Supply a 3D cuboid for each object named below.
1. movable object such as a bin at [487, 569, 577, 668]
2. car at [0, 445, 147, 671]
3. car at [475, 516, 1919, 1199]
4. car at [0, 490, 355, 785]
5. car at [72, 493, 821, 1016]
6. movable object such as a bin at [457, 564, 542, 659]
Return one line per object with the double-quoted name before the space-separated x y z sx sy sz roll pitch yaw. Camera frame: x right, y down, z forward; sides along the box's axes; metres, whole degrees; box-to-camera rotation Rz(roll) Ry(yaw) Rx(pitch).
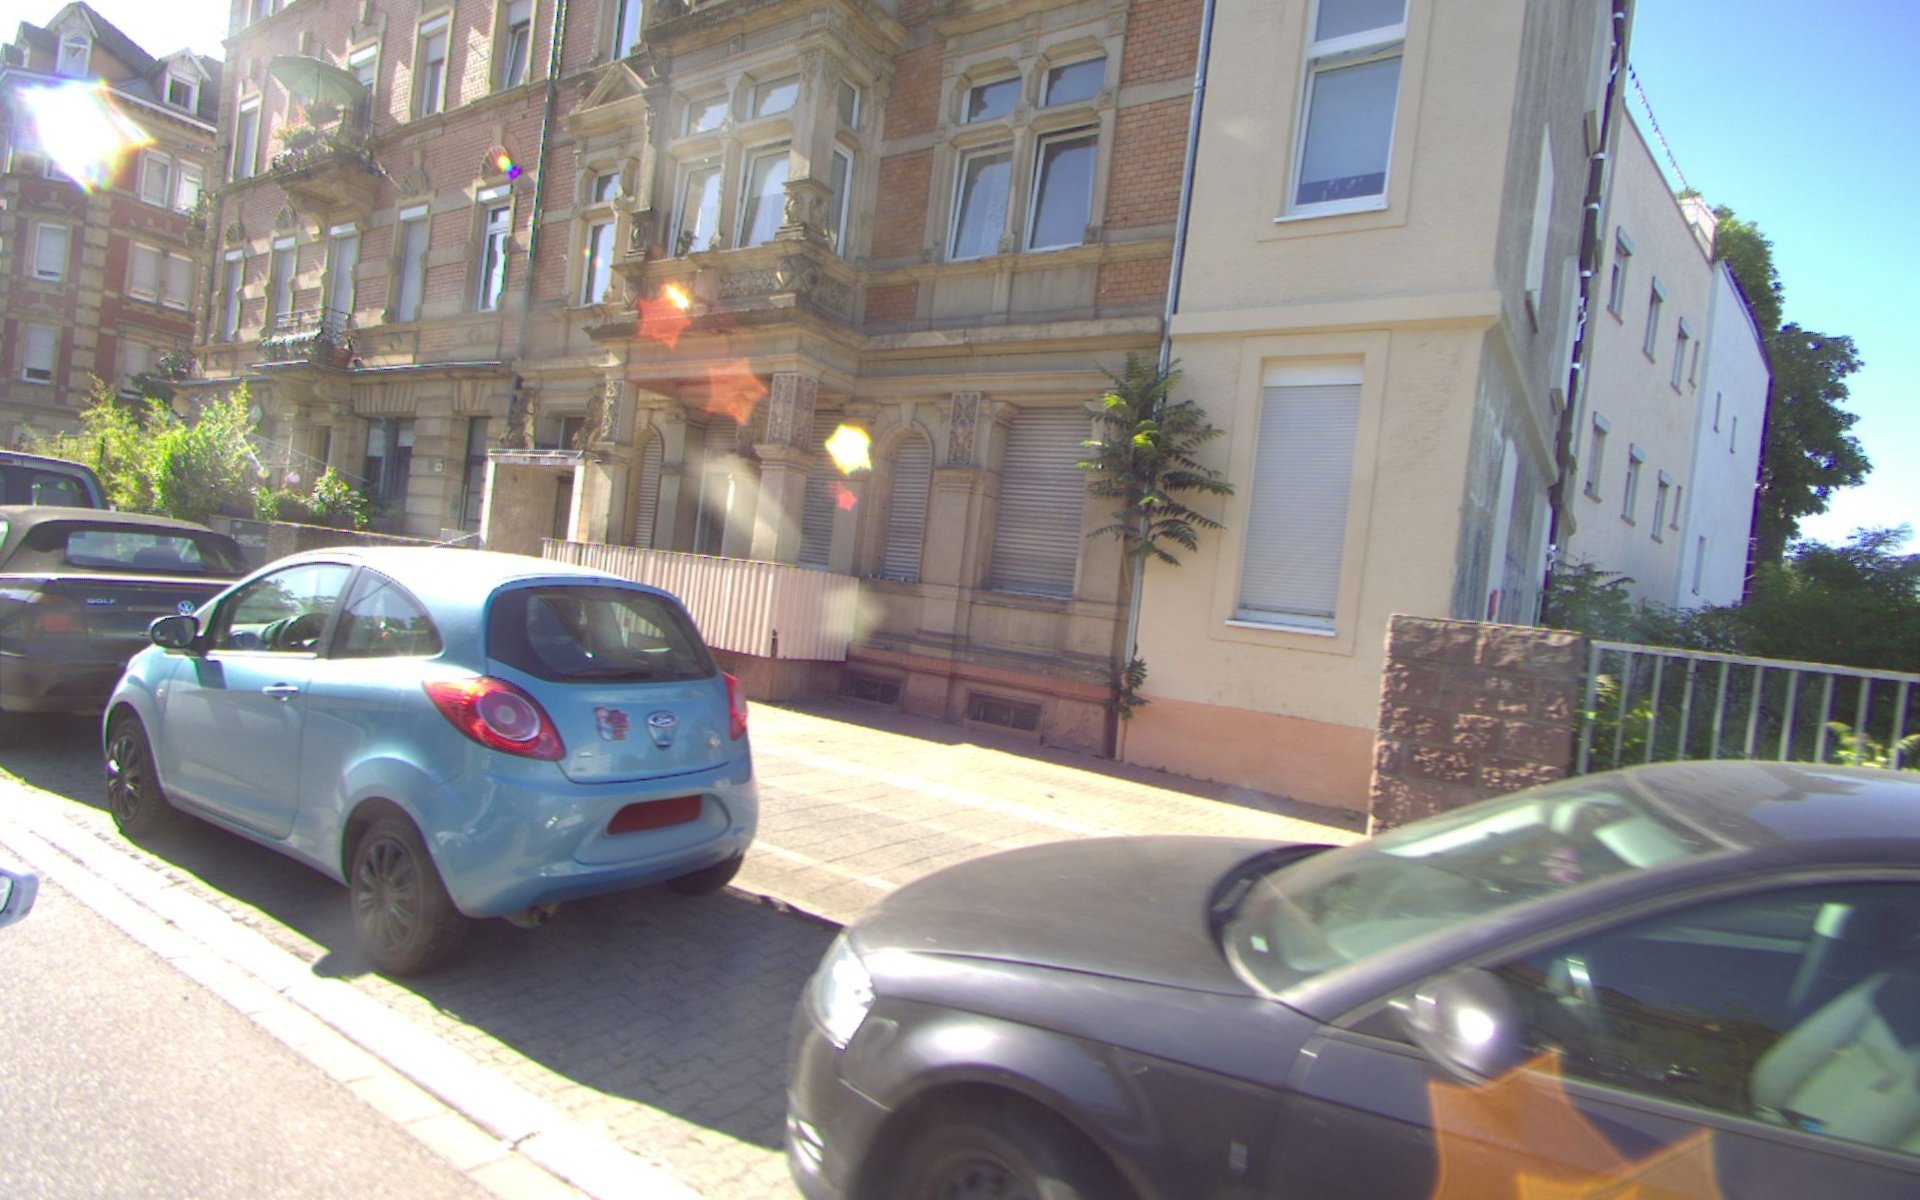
"movable object such as a bin" -5.435 0.243 12.800 0.599 1.170 0.759 4 -3 34
"car" -9.749 -0.563 9.642 4.295 1.867 1.820 7 0 35
"car" 1.324 0.871 2.000 4.409 1.538 1.937 7 0 31
"car" -6.133 0.063 6.965 4.206 1.486 1.669 7 0 35
"car" -2.479 0.425 4.705 3.244 1.490 1.621 8 3 32
"movable object such as a bin" -6.063 0.159 13.261 0.599 1.170 0.723 4 -3 34
